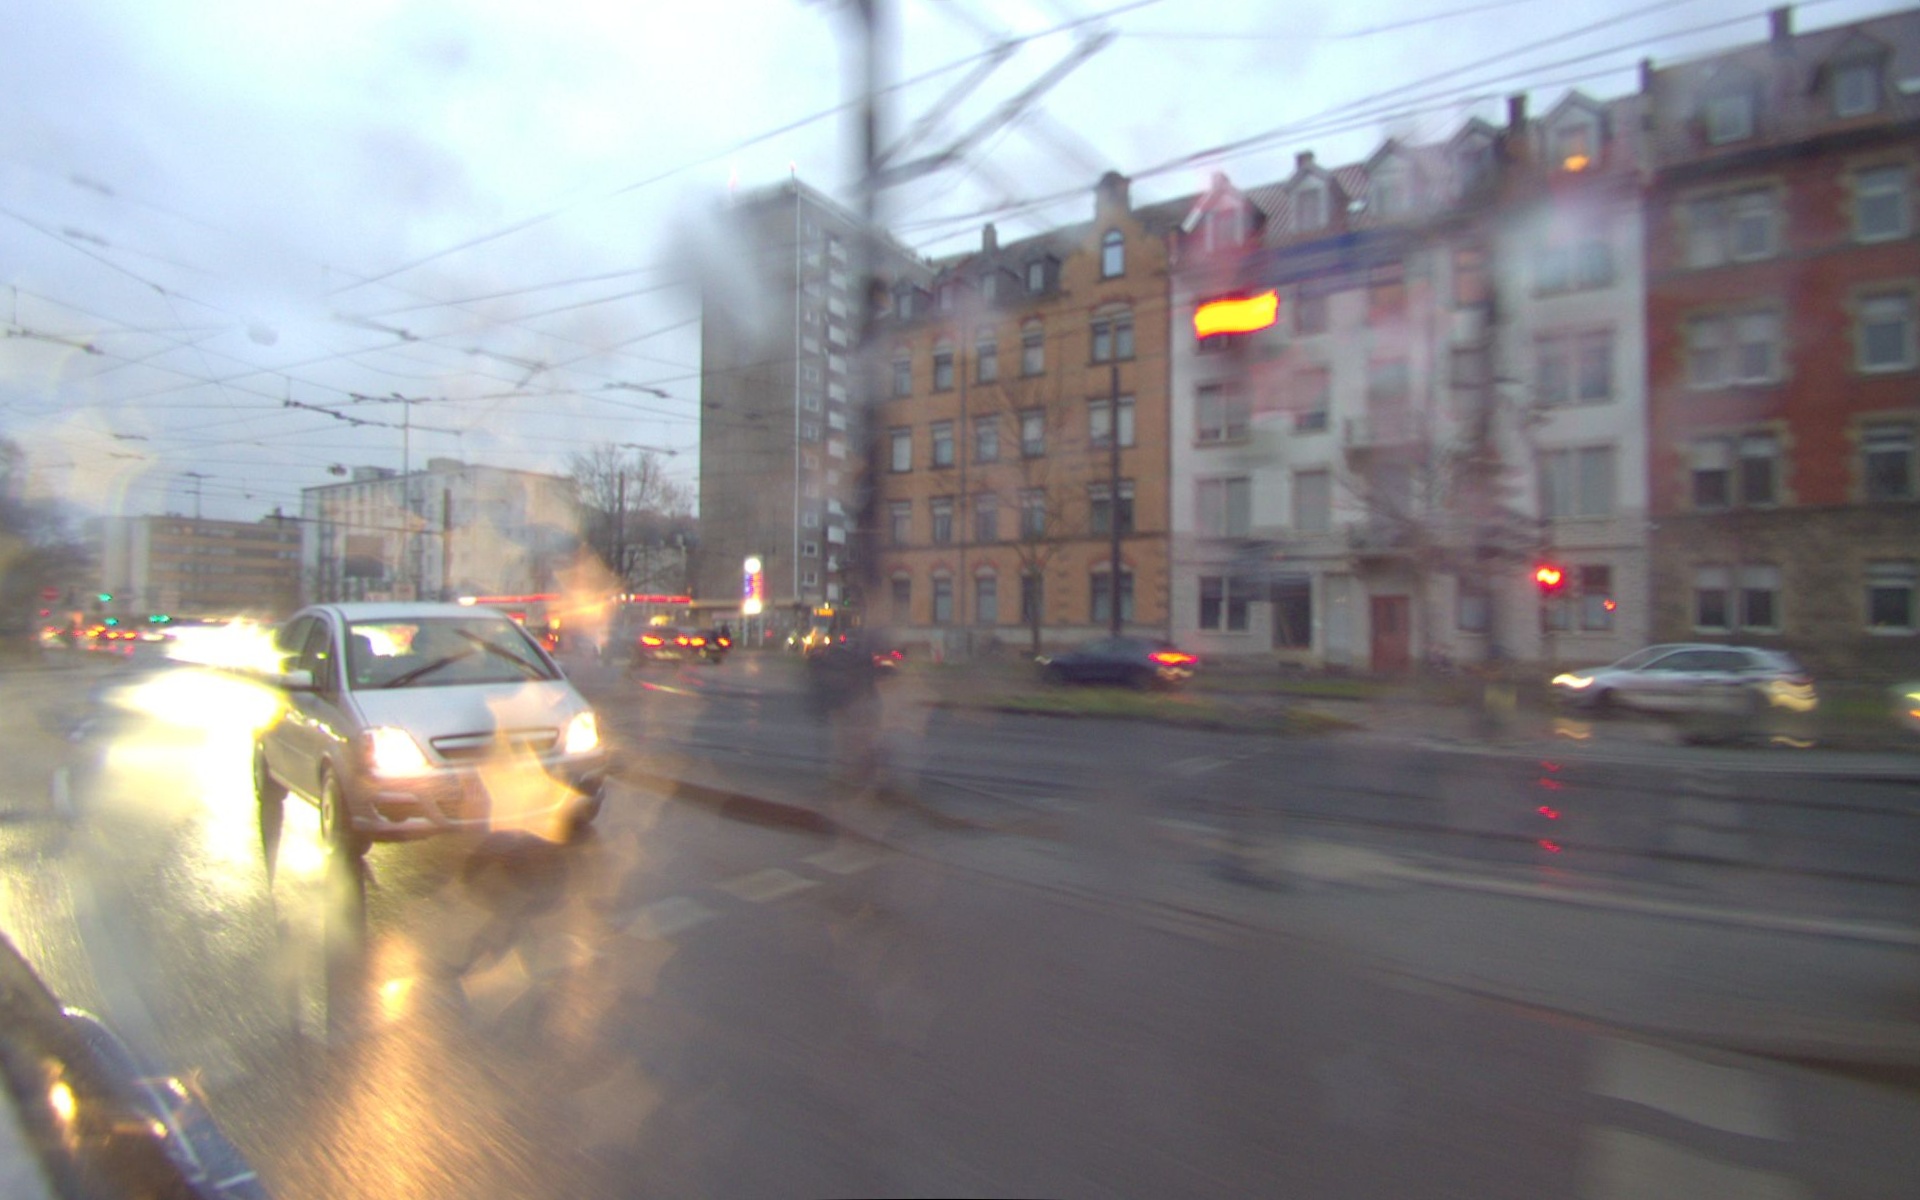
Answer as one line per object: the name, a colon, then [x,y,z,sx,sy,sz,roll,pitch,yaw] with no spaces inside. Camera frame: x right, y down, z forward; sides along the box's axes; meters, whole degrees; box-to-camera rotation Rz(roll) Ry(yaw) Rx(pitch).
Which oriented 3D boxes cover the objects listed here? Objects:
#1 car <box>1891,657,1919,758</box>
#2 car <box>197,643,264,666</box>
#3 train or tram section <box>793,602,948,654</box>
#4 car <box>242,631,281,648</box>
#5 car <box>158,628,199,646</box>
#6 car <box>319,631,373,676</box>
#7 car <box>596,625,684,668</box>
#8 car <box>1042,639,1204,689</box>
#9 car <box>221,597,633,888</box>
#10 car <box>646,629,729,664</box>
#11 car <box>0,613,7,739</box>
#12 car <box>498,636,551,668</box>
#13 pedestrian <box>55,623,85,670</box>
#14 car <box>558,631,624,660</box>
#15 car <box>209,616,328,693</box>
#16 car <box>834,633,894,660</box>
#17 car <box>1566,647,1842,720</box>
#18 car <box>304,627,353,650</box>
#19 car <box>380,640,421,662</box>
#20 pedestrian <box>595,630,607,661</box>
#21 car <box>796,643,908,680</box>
car: [14.236,1.359,12.300,4.077,1.255,1.523,-1,-3,35]
car: [-45.584,3.409,63.186,4.522,1.397,1.946,-2,-3,34]
train or tram section: [-5.804,1.847,71.163,3.151,3.212,16.169,-1,-1,25]
car: [-62.139,3.508,89.990,4.137,1.498,1.630,-2,-4,37]
car: [-79.479,3.800,102.913,4.522,1.796,1.946,-2,-3,34]
car: [-25.527,2.200,42.024,1.790,1.756,4.198,2,-3,-32]
car: [-12.251,1.742,38.635,1.659,1.565,4.127,2,-3,-41]
car: [4.331,1.688,27.190,4.081,1.236,1.522,-2,-3,38]
car: [-4.130,0.821,7.494,1.626,1.560,4.113,2,-2,-44]
car: [-11.544,1.930,42.749,1.659,1.364,4.394,2,-3,-41]
car: [-11.850,0.930,11.057,1.624,1.596,3.813,1,-1,-36]
car: [-21.393,2.514,49.671,1.468,1.498,3.157,2,-3,-41]
pedestrian: [-36.165,1.906,41.134,0.564,1.852,0.685,7,-7,-28]
car: [-18.226,2.224,49.911,1.661,1.402,3.616,2,-3,-45]
car: [-15.292,1.196,22.560,1.724,1.556,4.012,2,-3,-28]
car: [-5.534,2.691,58.917,1.675,1.537,4.194,-1,-2,24]
car: [14.031,1.532,19.342,4.078,1.236,1.523,-1,-3,35]
car: [-56.101,3.386,89.907,4.844,1.961,1.976,-1,-5,36]
car: [-38.916,3.523,70.308,1.659,1.468,4.068,2,-3,-41]
pedestrian: [-21.029,2.658,59.277,0.460,1.785,0.630,1,-2,-34]
car: [-3.682,2.039,34.174,3.786,1.142,1.584,-1,-3,40]
